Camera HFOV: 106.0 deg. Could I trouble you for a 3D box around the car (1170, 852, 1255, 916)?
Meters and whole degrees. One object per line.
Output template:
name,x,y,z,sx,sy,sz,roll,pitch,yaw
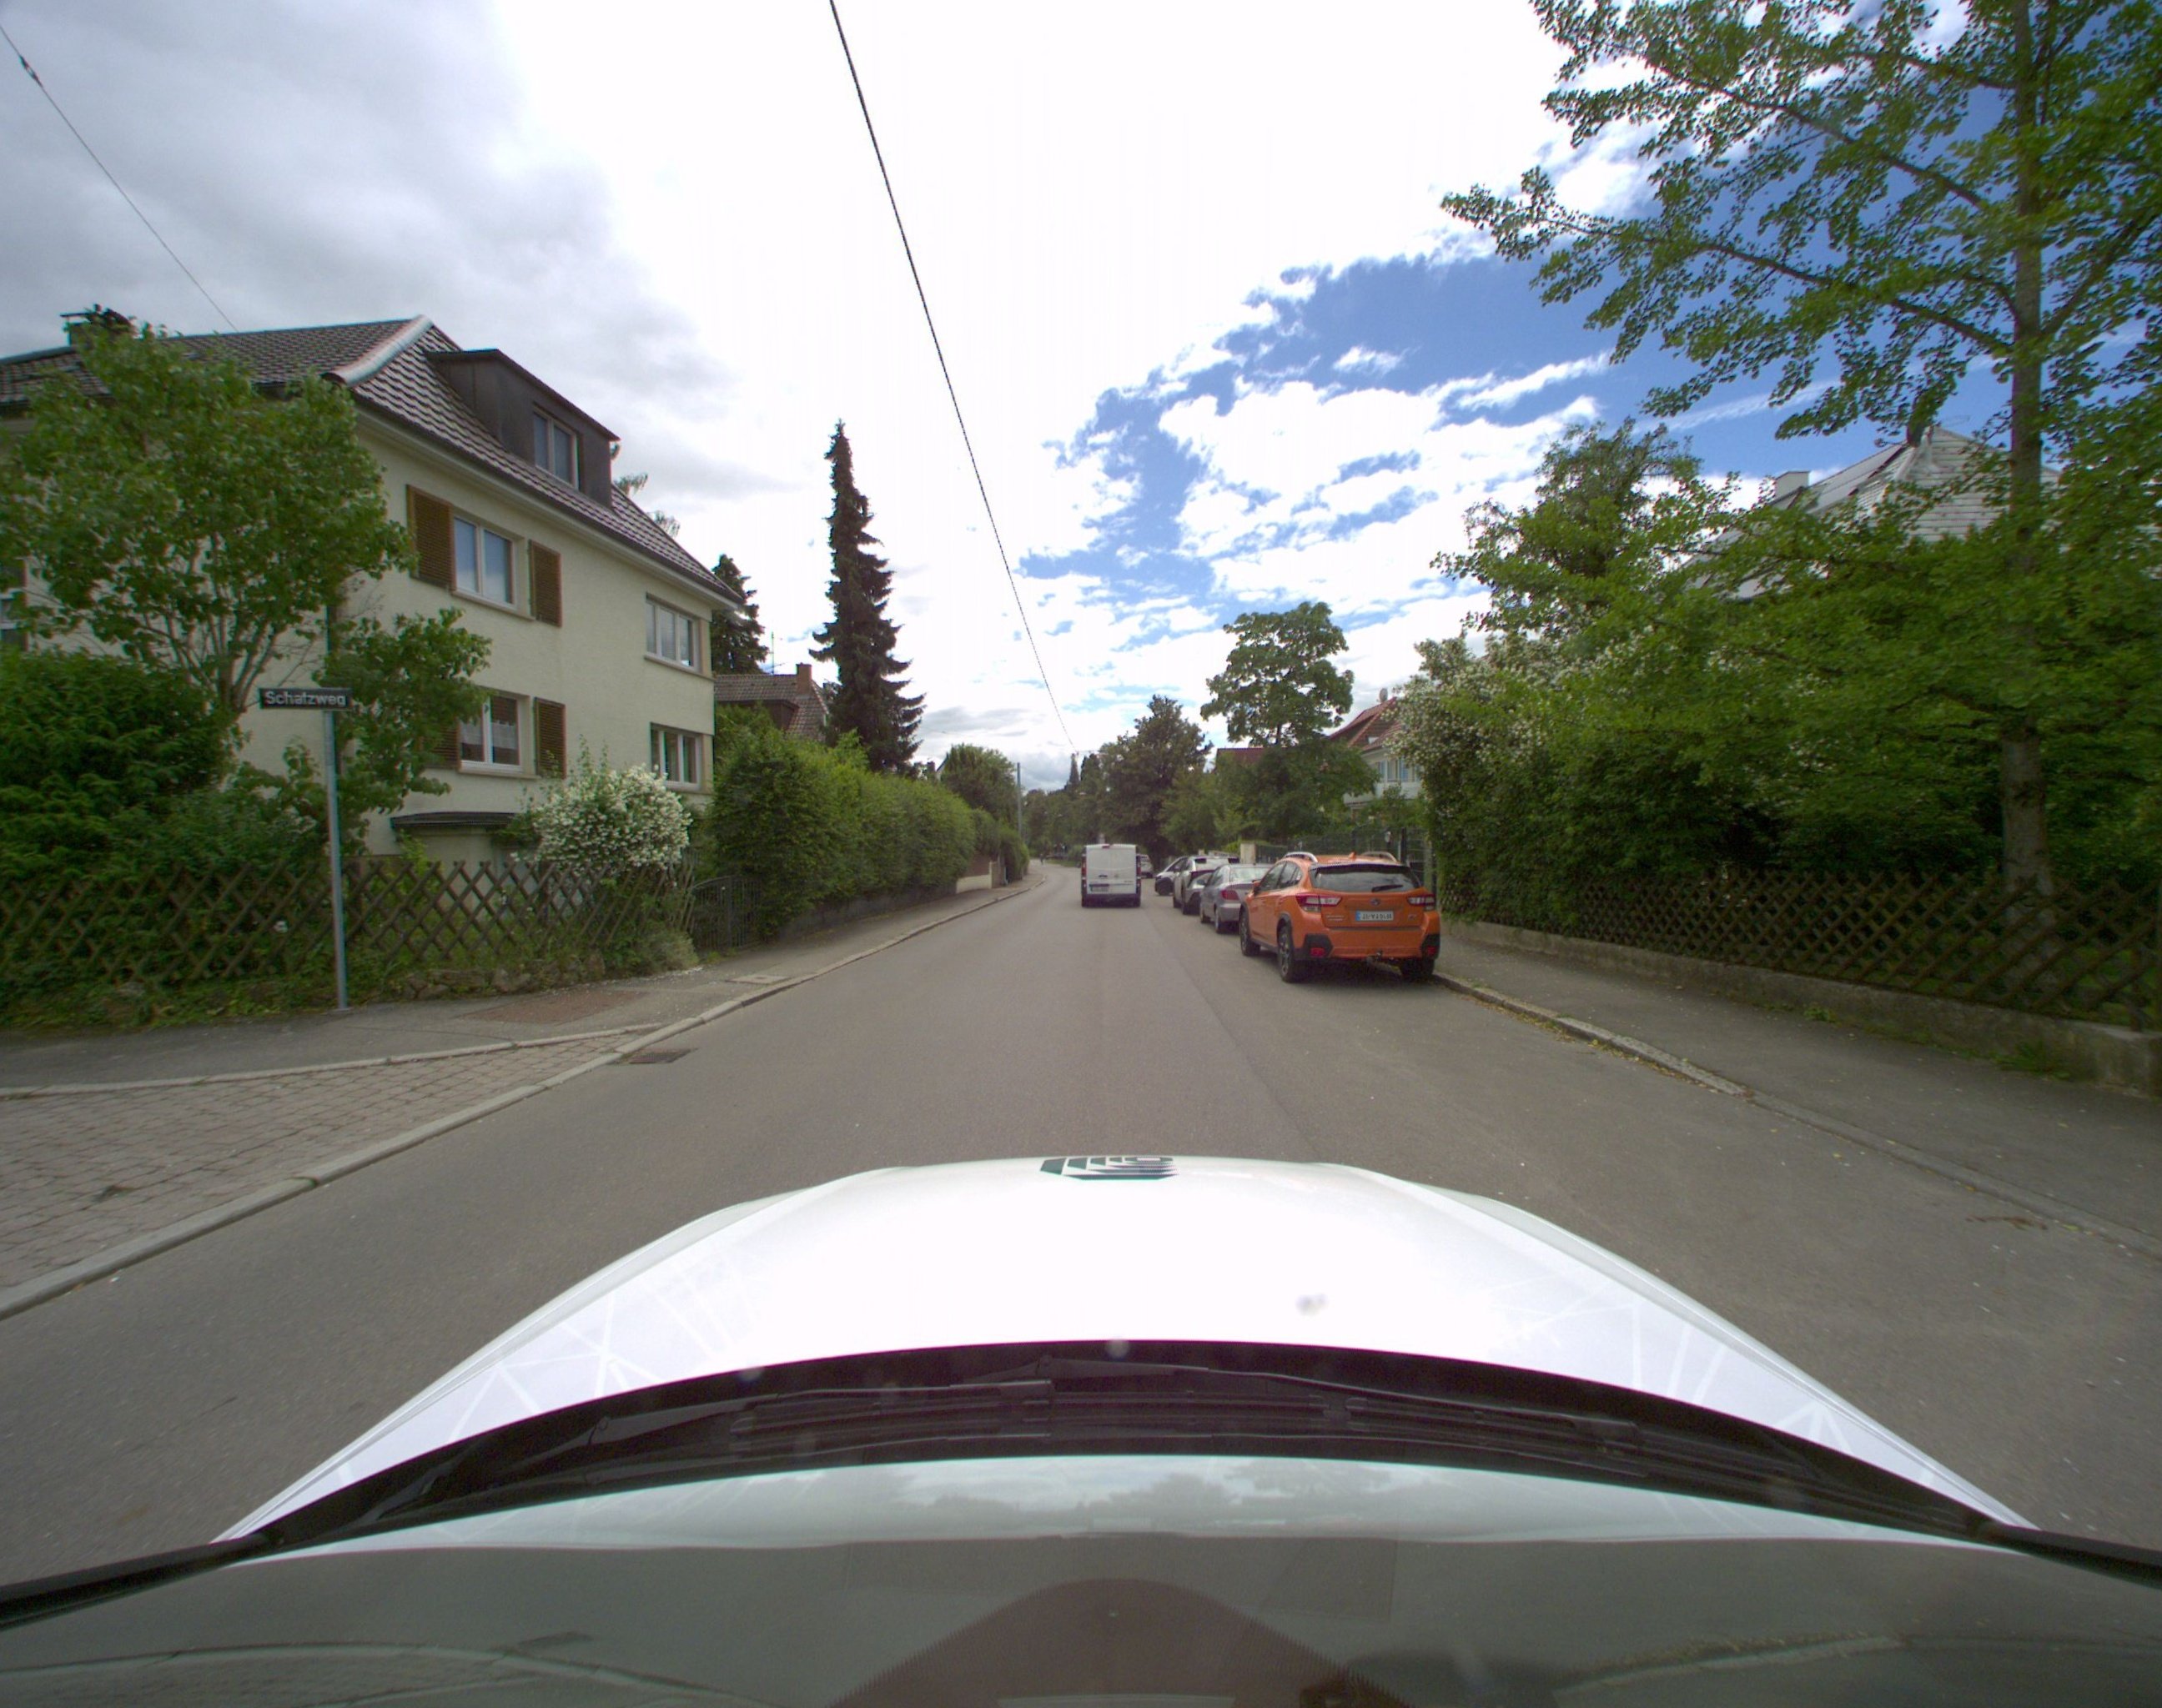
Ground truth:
car,3.629,0.786,23.226,1.822,1.623,4.493,-1,0,2

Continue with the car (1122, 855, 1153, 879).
car,4.028,0.912,58.488,1.860,1.685,4.348,-1,0,-1

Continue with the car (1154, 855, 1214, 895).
car,4.092,0.826,32.502,2.275,1.524,1.320,-1,0,6

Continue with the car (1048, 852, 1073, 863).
car,-3.803,0.593,148.610,4.389,1.859,1.897,-1,0,-10

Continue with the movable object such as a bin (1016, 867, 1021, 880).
movable object such as a bin,-4.449,1.359,57.871,0.335,0.893,0.476,0,0,3

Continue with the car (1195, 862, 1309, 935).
car,3.584,0.873,17.763,1.710,1.382,4.237,-1,0,2

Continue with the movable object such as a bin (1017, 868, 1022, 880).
movable object such as a bin,-4.417,1.429,58.727,0.335,0.893,0.476,0,0,2

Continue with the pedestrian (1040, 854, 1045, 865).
pedestrian,-5.897,0.844,123.358,0.697,1.616,0.714,-1,2,-5

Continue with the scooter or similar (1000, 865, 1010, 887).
scooter or similar,-4.315,1.246,46.253,0.390,1.171,1.270,-1,0,0

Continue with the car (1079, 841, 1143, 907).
car,0.911,0.593,26.745,1.924,1.964,4.401,-1,0,0

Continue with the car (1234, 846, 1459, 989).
car,3.432,0.739,11.417,1.844,1.626,4.169,0,0,1
